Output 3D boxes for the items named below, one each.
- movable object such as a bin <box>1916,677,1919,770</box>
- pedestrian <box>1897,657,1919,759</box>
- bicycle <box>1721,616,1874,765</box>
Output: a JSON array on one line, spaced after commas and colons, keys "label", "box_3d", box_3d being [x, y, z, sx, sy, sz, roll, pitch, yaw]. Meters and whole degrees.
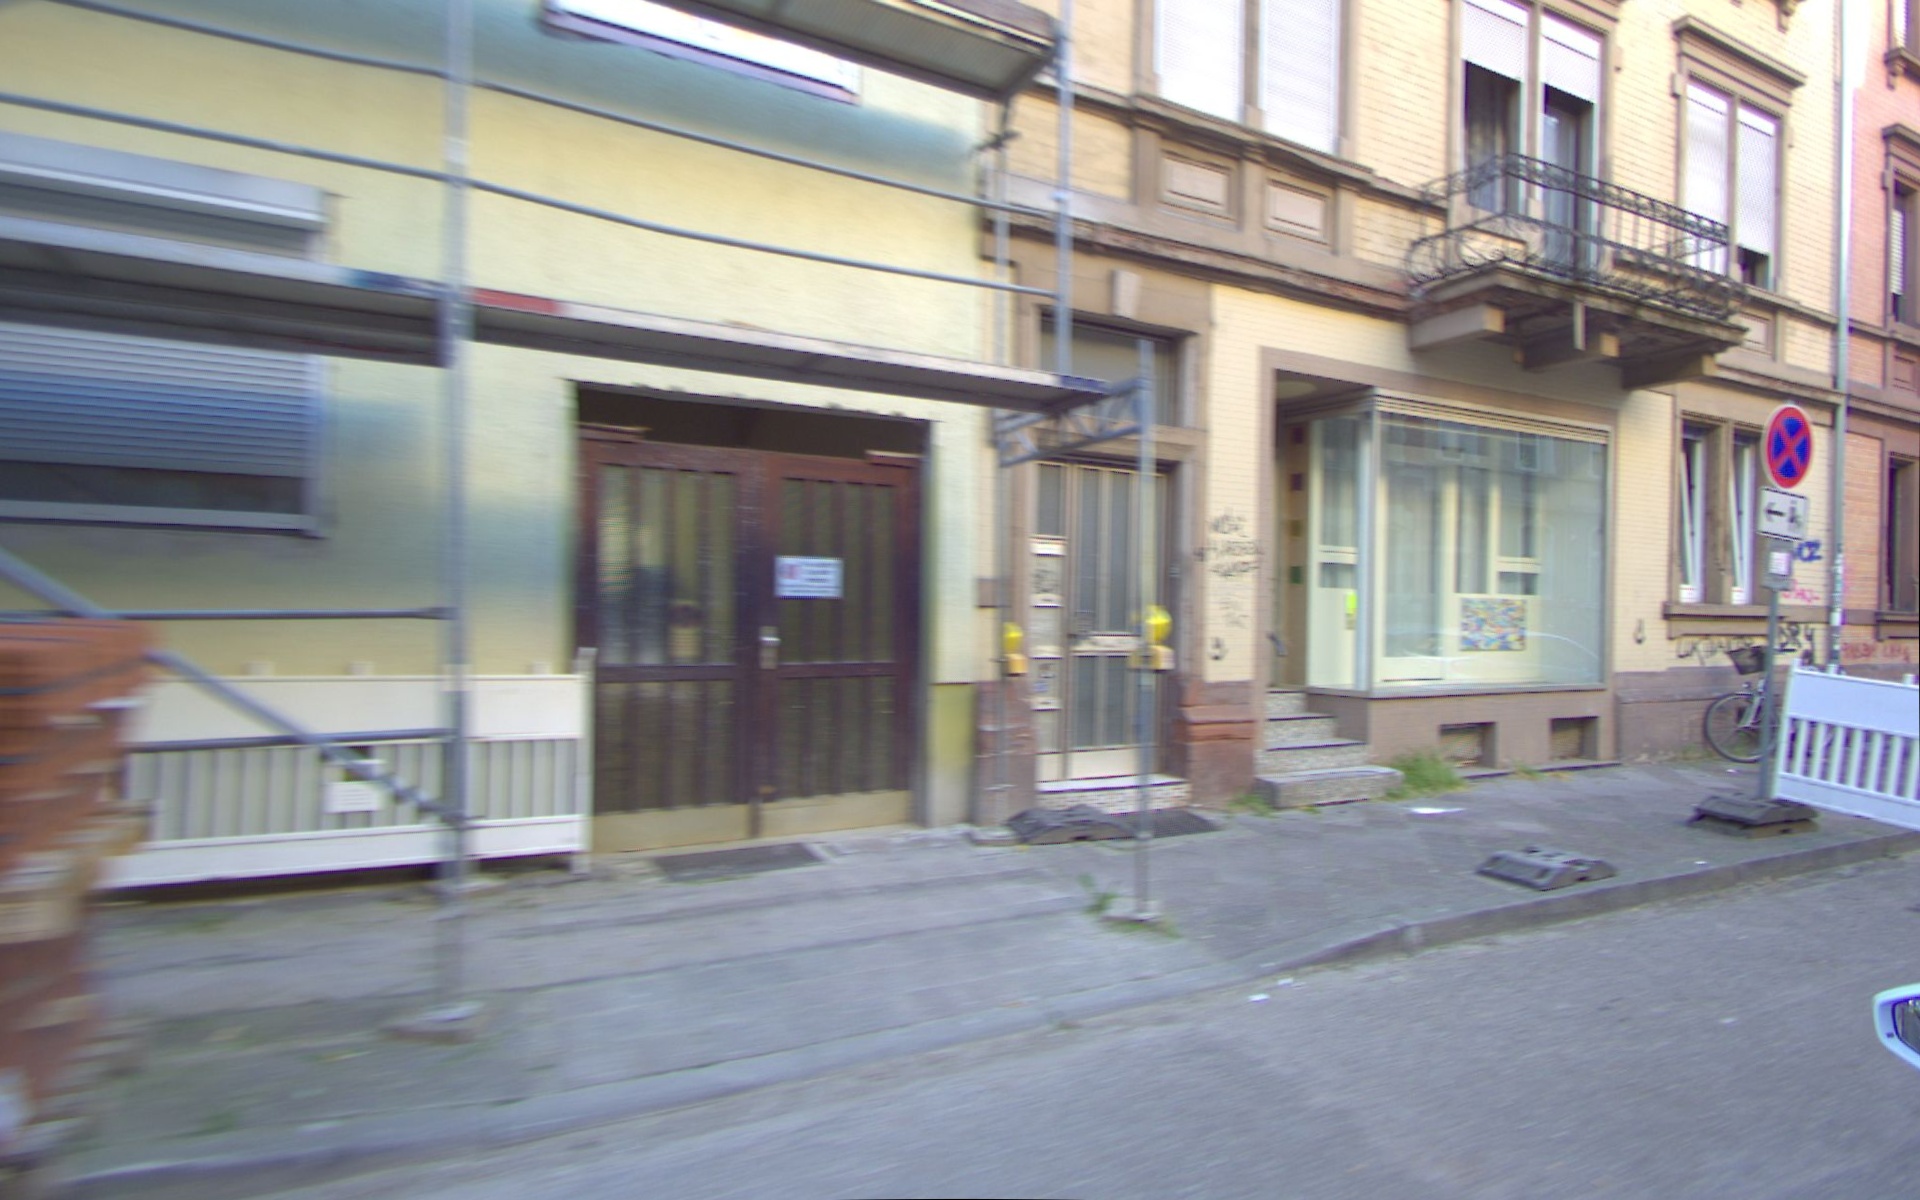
[{"label": "movable object such as a bin", "box_3d": [10.613, 1.277, 10.346, 1.399, 0.944, 0.758, 1, -1, -30]}, {"label": "pedestrian", "box_3d": [10.714, 1.192, 11.113, 0.427, 1.101, 0.391, 1, 0, -32]}, {"label": "bicycle", "box_3d": [8.760, 0.916, 10.499, 1.689, 1.444, 0.522, 2, 2, -26]}]
